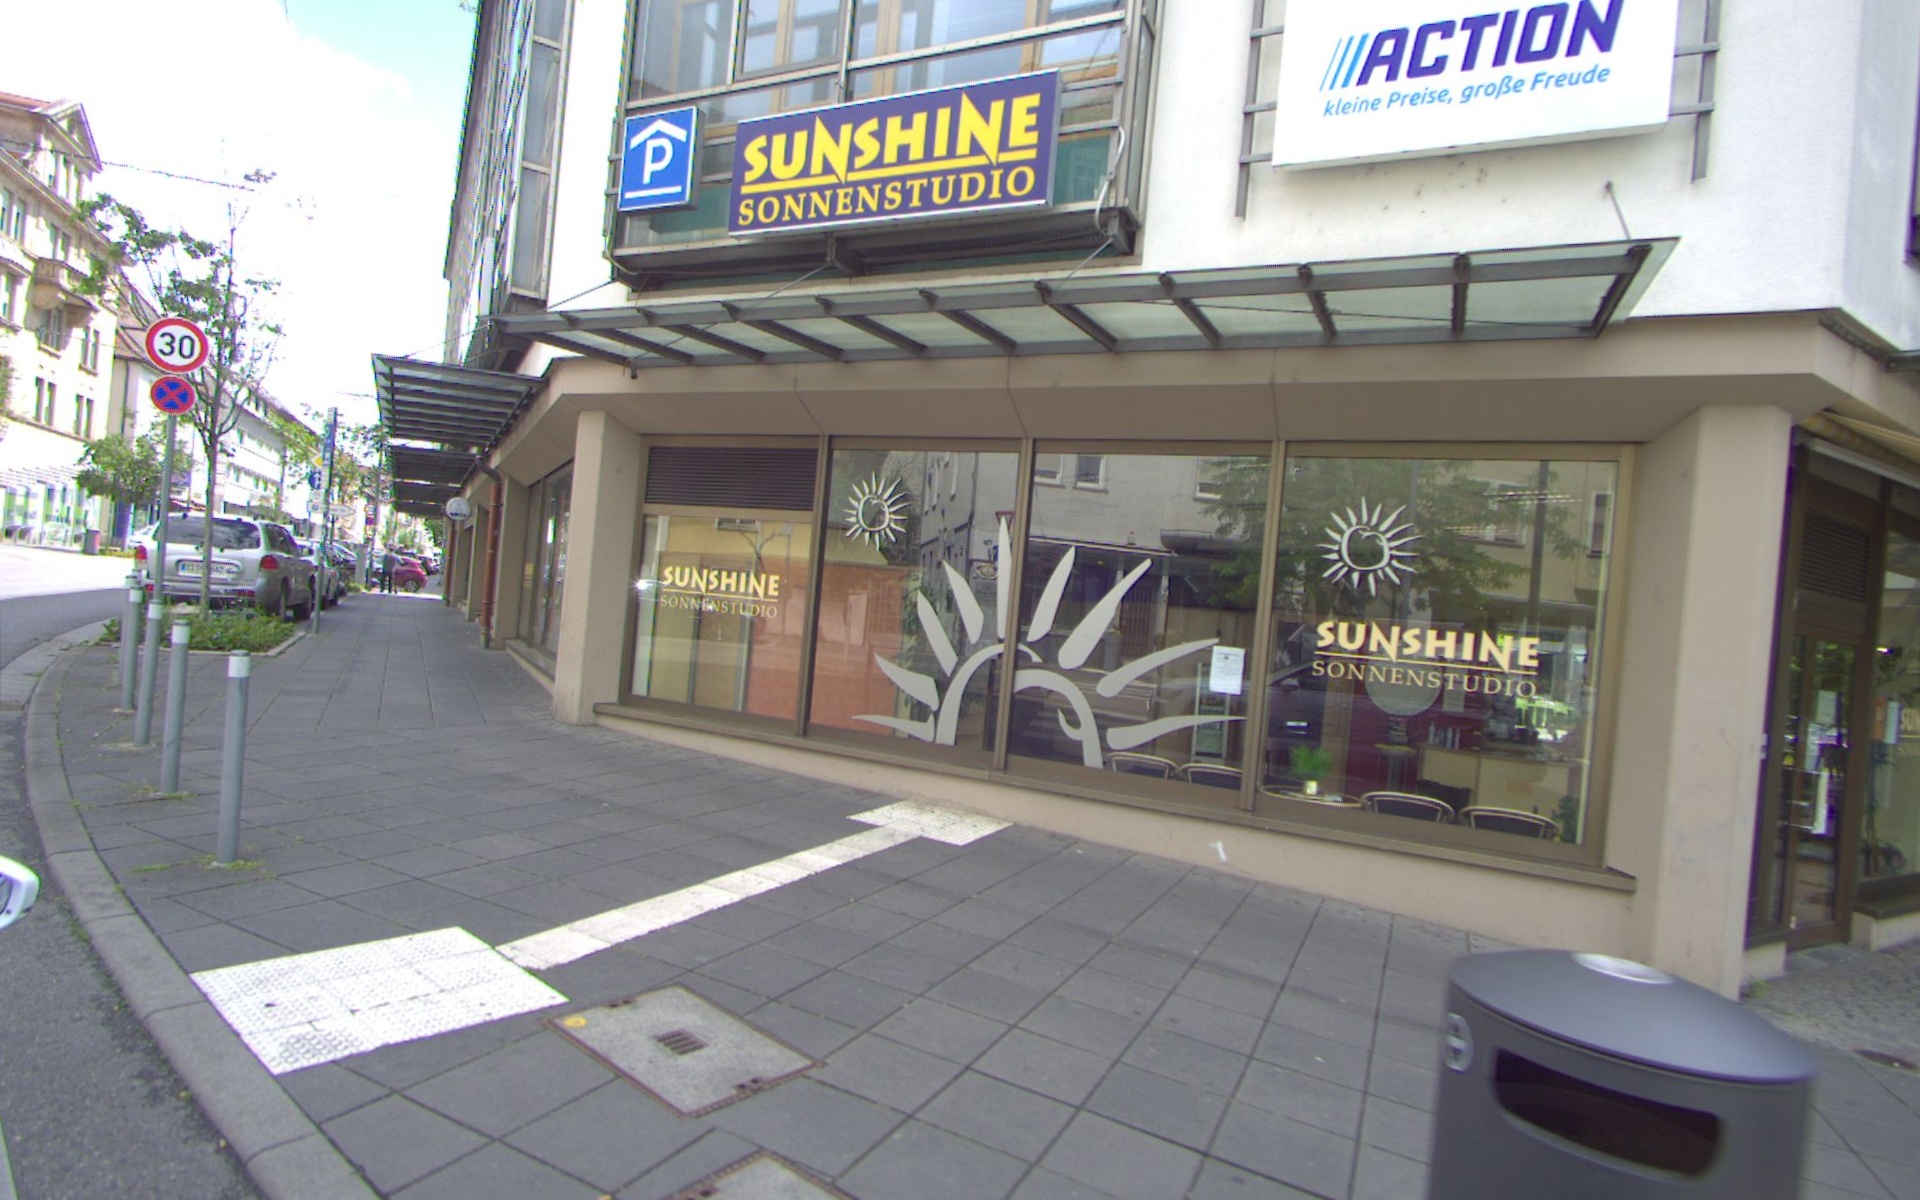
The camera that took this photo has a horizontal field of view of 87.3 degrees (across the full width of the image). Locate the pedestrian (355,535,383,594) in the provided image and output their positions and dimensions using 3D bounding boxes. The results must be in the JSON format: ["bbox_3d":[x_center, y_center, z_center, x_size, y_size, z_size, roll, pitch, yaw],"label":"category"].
[{"bbox_3d":[-21.437,-1.296,36.473,0.684,2.038,0.717,6,0,-33],"label":"pedestrian"}]

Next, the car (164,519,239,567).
[{"bbox_3d":[-33.386,-2.478,44.387,1.819,1.858,4.538,5,0,-28],"label":"car"}]

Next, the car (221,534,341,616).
[{"bbox_3d":[-14.560,-0.556,21.760,1.607,1.451,4.209,6,0,-28],"label":"car"}]

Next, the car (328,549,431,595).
[{"bbox_3d":[-24.565,-1.165,42.674,3.594,1.429,1.578,9,-2,-30],"label":"car"}]

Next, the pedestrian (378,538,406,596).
[{"bbox_3d":[-20.909,-1.203,37.047,0.684,2.038,0.717,6,0,-33],"label":"pedestrian"}]

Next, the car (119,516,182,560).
[{"bbox_3d":[-38.052,-2.909,47.352,1.698,1.733,3.966,7,-1,-32],"label":"car"}]

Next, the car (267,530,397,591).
[{"bbox_3d":[-24.259,-1.495,39.039,3.952,1.728,1.665,8,-2,-26],"label":"car"}]

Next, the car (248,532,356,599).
[{"bbox_3d":[-17.951,-0.925,27.635,1.806,1.538,4.208,5,-1,-25],"label":"car"}]

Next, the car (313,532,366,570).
[{"bbox_3d":[-36.273,-2.855,58.957,1.953,1.899,5.006,6,0,-25],"label":"car"}]

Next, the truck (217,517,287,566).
[{"bbox_3d":[-36.776,-2.997,52.416,2.047,2.192,5.259,6,0,-27],"label":"truck"}]

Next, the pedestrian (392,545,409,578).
[{"bbox_3d":[-35.868,-2.452,64.516,0.676,2.038,0.595,7,0,-25],"label":"pedestrian"}]

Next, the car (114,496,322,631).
[{"bbox_3d":[-11.815,-0.556,16.331,1.806,1.752,4.208,5,0,-25],"label":"car"}]

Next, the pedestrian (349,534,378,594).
[{"bbox_3d":[-21.057,-1.278,35.510,0.684,2.038,0.717,6,0,-33],"label":"pedestrian"}]
